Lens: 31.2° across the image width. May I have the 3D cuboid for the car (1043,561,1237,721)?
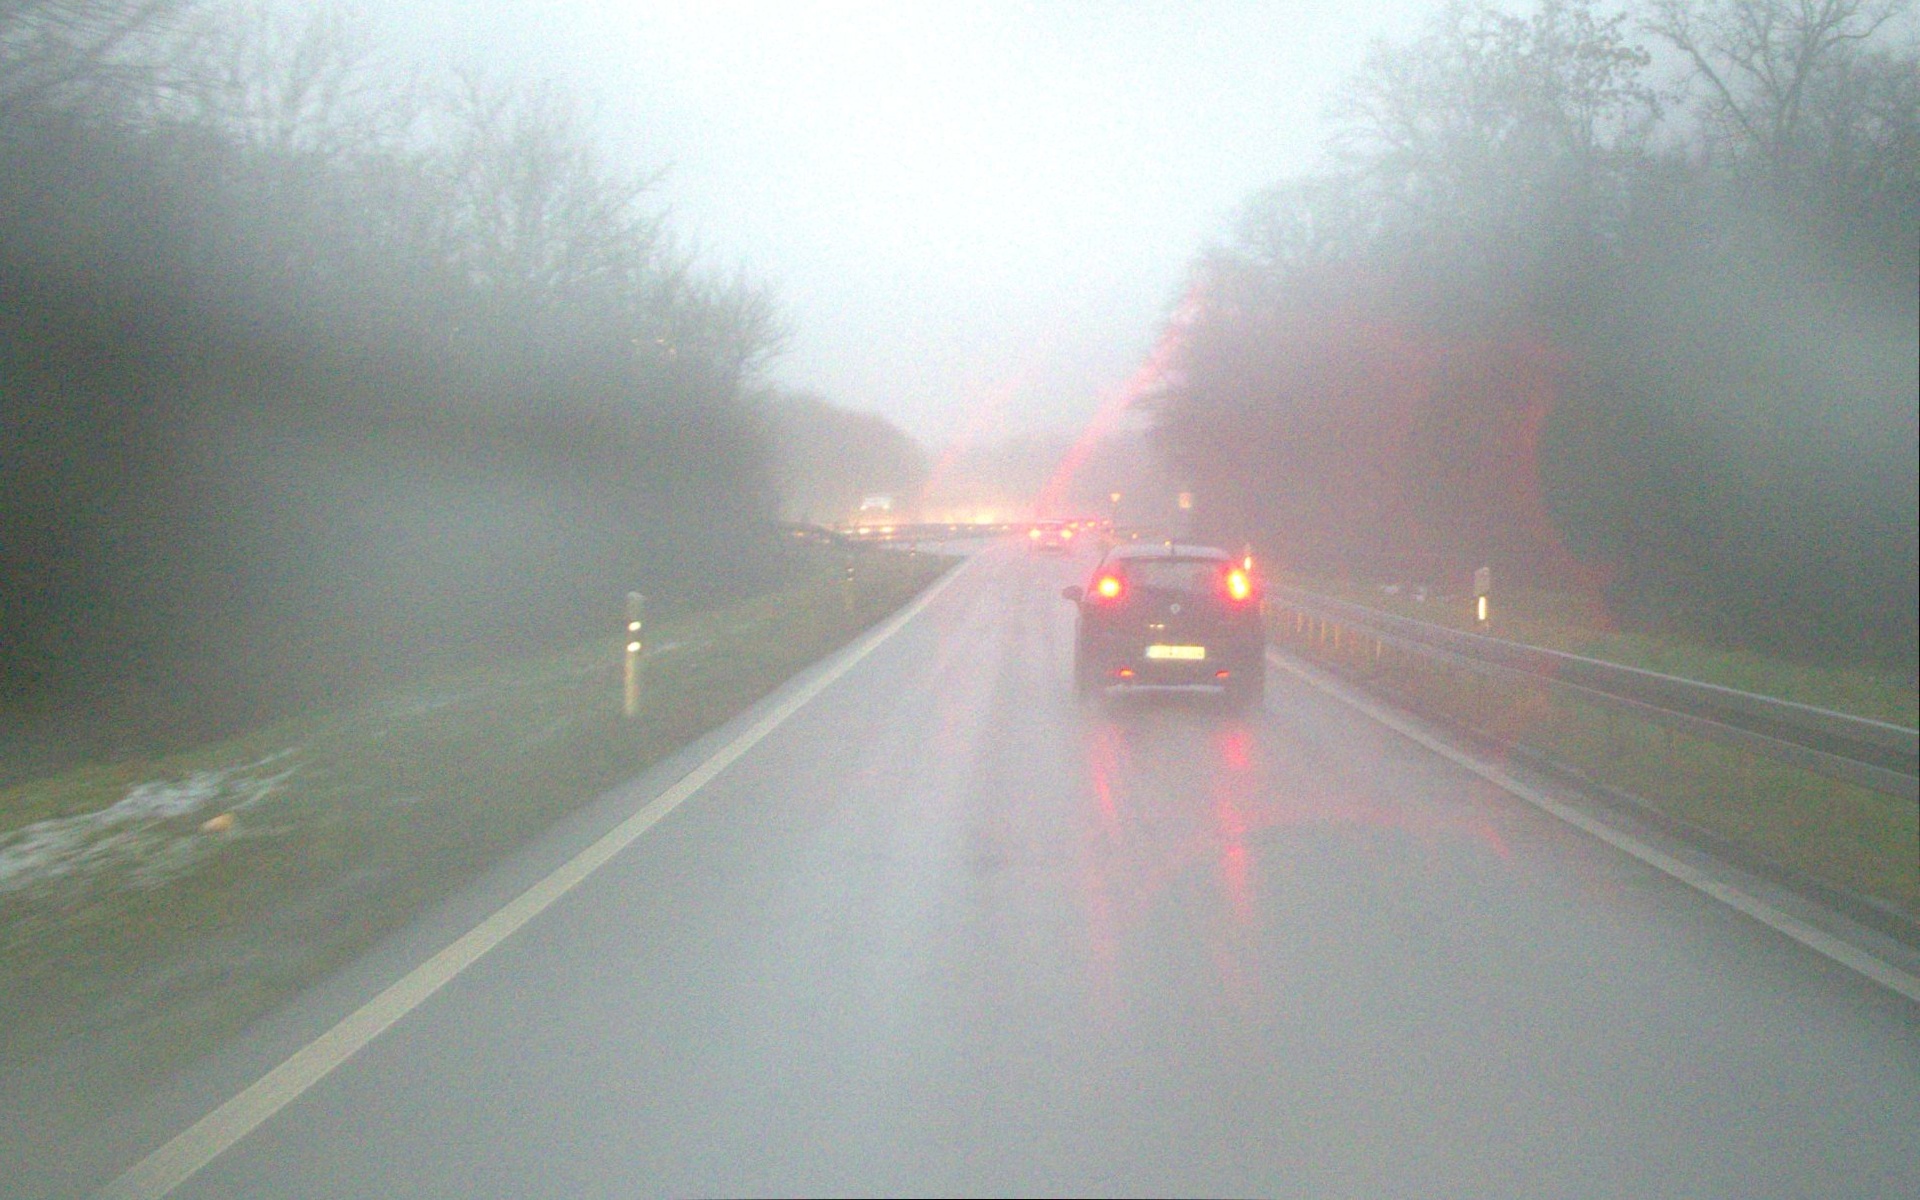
[{"bbox_3d":[1.776,0.348,32.956,1.732,1.424,3.765,0,1,5],"label":"car"}]
